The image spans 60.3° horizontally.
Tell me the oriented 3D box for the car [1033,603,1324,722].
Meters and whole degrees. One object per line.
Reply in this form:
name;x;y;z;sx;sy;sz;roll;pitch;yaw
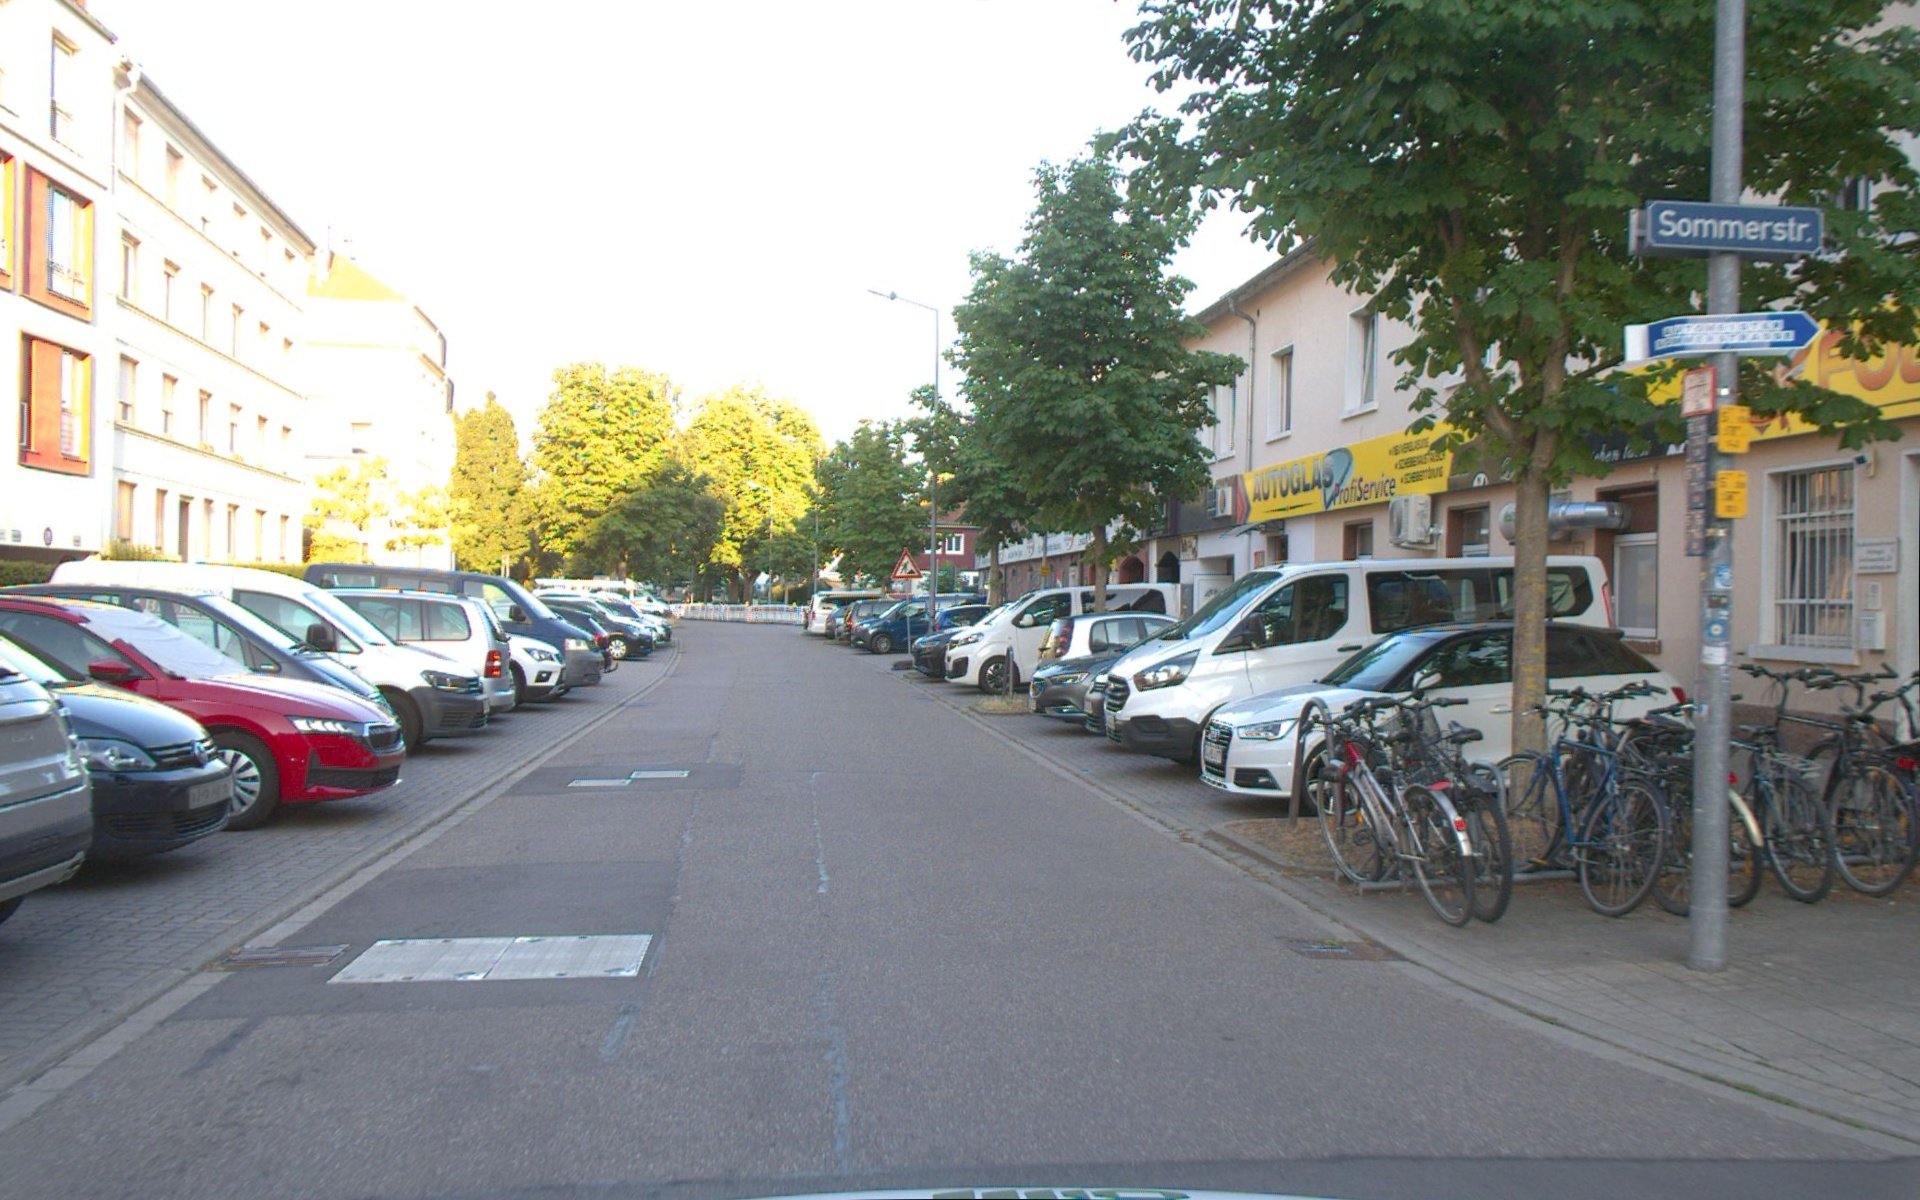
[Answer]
car;3.108;0.865;24.050;3.836;1.553;1.937;-1;0;-6

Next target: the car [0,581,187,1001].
car;-5.622;0.647;6.616;4.123;1.565;1.841;2;-1;-1

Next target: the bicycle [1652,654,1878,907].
bicycle;4.365;0.931;9.067;0.378;1.221;1.479;-1;0;-6

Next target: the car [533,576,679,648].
car;-11.613;0.395;54.536;4.447;2.171;1.997;2;-1;-7

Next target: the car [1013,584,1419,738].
car;3.230;0.750;21.505;4.848;1.773;2.047;-1;0;-6

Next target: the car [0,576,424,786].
car;-7.068;0.662;14.518;4.130;1.644;1.996;2;-1;-8

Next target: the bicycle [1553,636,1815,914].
bicycle;3.939;0.883;9.178;0.378;1.327;2.015;-1;0;-6

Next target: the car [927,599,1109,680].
car;1.414;0.946;40.979;4.236;1.835;1.807;-1;0;-8

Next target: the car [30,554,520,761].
car;-6.855;0.576;16.993;4.175;1.868;1.997;2;-1;-6

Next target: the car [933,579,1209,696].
car;2.030;0.671;31.126;4.851;1.992;2.045;-1;0;-8

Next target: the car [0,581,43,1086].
car;-4.898;0.648;4.118;4.130;1.565;1.787;2;-1;-8

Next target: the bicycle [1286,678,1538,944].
bicycle;2.328;1.037;8.782;0.430;1.150;2.011;-1;0;-11

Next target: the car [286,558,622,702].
car;-7.925;0.473;26.303;4.758;2.056;1.904;2;-1;-7

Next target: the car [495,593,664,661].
car;-10.175;0.727;44.494;4.176;1.650;1.997;2;-1;-7

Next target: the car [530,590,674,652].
car;-11.193;0.653;51.931;4.175;1.780;1.997;2;-1;-6

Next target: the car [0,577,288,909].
car;-6.057;0.649;8.839;4.130;1.603;1.996;2;-1;-8

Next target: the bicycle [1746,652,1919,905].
bicycle;4.961;0.924;9.101;0.436;1.221;1.479;-1;0;-6

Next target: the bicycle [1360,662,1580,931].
bicycle;2.715;0.987;9.013;0.378;1.221;2.015;-1;0;-6

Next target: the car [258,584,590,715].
car;-7.586;0.694;23.771;4.175;1.681;1.885;2;-1;-7

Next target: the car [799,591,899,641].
car;-4.607;0.637;68.618;3.897;1.945;2.044;-1;0;-11

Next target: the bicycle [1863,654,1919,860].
bicycle;5.695;0.909;9.254;0.346;1.163;1.479;-1;0;-6

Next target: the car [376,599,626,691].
car;-8.491;0.832;30.948;4.175;1.531;1.997;2;-1;-6

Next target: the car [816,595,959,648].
car;-2.591;0.745;58.828;4.856;1.724;1.843;-1;0;-11

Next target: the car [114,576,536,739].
car;-7.300;0.658;19.427;4.175;1.689;1.997;2;-1;-6

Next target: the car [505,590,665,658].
car;-10.631;0.675;47.198;4.175;1.744;1.997;2;-1;-6

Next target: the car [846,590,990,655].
car;-1.370;0.717;53.307;4.399;1.945;1.683;-1;0;-11

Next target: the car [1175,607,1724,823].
car;3.849;0.850;13.317;3.846;1.477;1.765;-2;0;-9

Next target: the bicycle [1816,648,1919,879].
bicycle;5.352;0.901;9.135;0.346;1.221;1.479;-1;0;-6

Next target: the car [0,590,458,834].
car;-5.879;0.721;11.653;4.128;1.516;1.847;2;-1;-6

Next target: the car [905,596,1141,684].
car;1.326;0.838;36.041;4.851;1.718;2.073;-1;0;-8

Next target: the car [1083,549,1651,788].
car;3.819;0.607;16.115;4.894;2.018;2.217;-1;0;-6

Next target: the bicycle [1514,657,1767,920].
bicycle;3.684;0.958;9.140;0.378;1.221;2.015;-1;0;-6

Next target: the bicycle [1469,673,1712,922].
bicycle;3.405;1.012;9.122;0.378;1.133;2.015;-1;0;-6
